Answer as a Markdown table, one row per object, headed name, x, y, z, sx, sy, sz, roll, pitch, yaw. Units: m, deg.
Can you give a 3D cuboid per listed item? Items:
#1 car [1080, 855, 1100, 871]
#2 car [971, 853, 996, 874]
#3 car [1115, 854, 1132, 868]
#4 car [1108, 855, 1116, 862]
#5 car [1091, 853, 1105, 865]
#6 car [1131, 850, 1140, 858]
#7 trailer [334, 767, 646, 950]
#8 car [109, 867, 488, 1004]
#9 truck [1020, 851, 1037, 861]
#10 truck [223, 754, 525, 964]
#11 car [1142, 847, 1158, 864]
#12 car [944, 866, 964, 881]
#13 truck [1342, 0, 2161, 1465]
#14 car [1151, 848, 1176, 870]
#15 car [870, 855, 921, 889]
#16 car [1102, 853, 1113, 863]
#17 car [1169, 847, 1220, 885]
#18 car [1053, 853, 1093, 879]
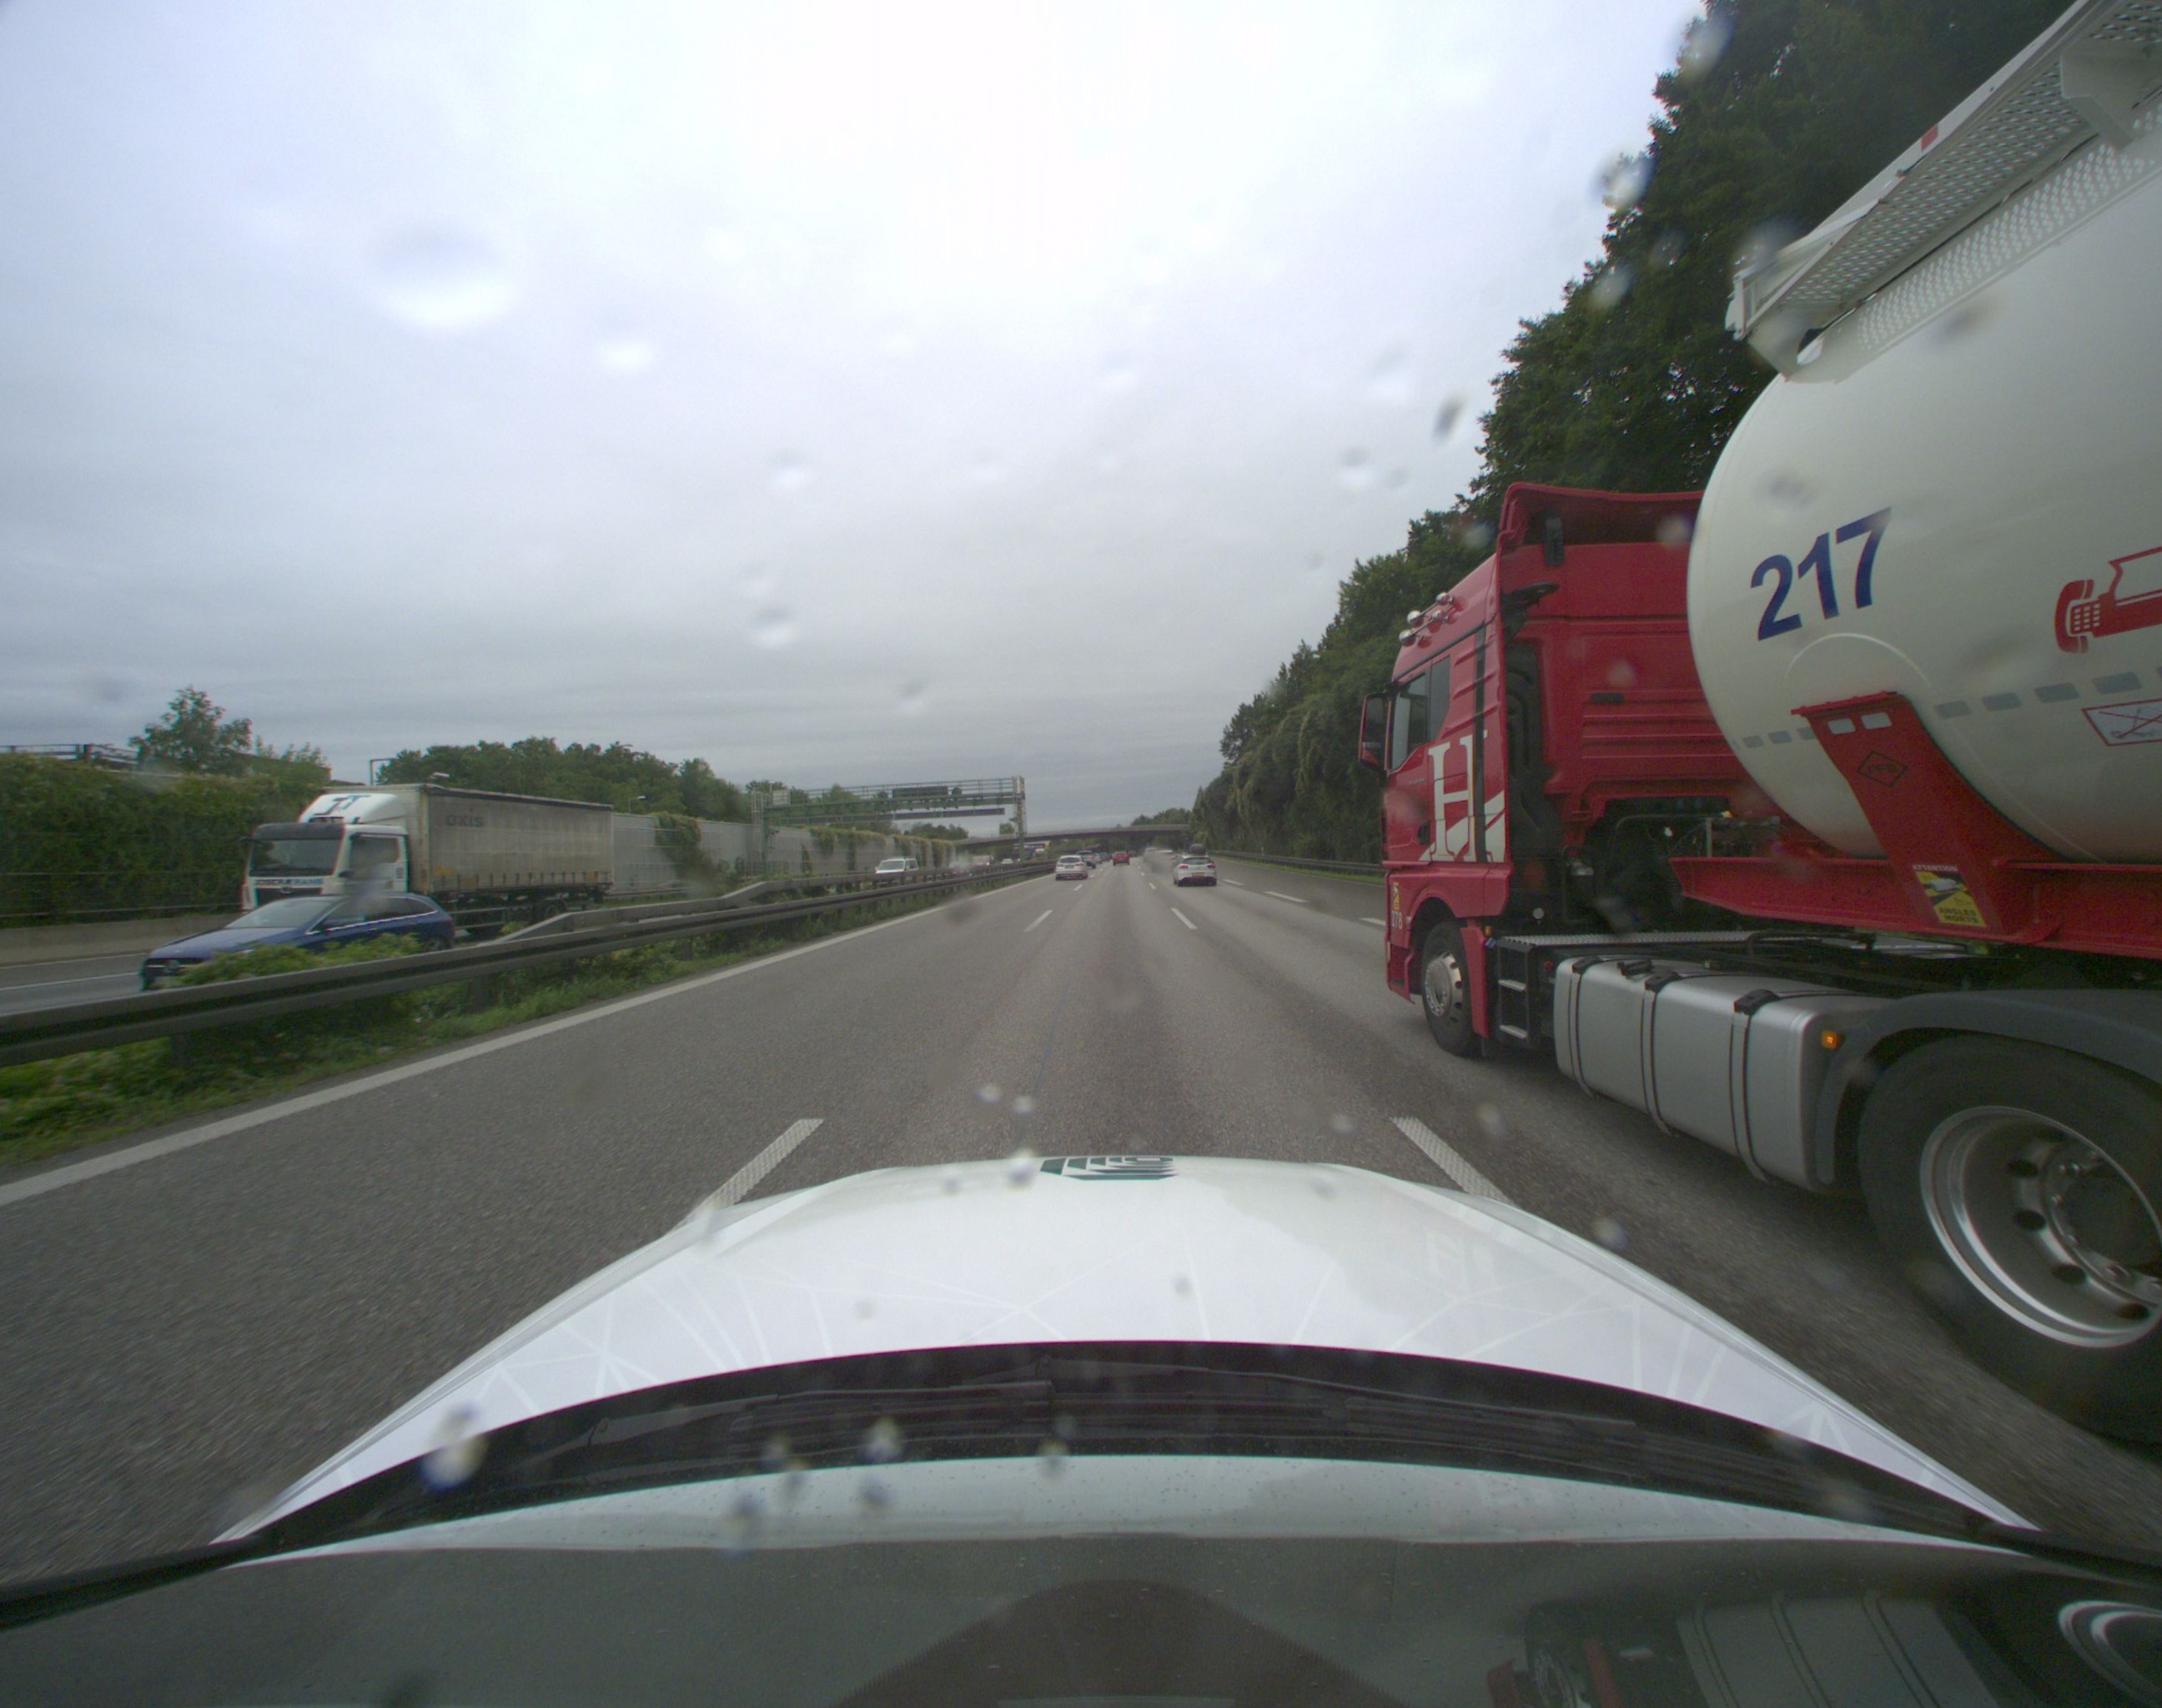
| name | x | y | z | sx | sy | sz | roll | pitch | yaw |
| --- | --- | --- | --- | --- | --- | --- | --- | --- | --- |
| car | 0.878 | 0.869 | 79.903 | 1.681 | 1.506 | 3.875 | 3 | 0 | 4 |
| car | -10.224 | 1.004 | 85.395 | 1.986 | 2.014 | 4.001 | -1 | -1 | 2 |
| car | 4.593 | 0.741 | 88.687 | 1.682 | 1.506 | 3.873 | 3 | 0 | 2 |
| car | 7.504 | 1.057 | 197.665 | 1.682 | 1.639 | 3.872 | -2 | -1 | 2 |
| car | 2.348 | 0.665 | 110.167 | 1.681 | 1.506 | 3.875 | -3 | 0 | 4 |
| car | 10.963 | -0.073 | 164.522 | 1.681 | 1.539 | 3.875 | -1 | 0 | 4 |
| trailer | -16.932 | 0.123 | 24.449 | 2.657 | 4.444 | 8.579 | -2 | 0 | 3 |
| car | -13.600 | 1.278 | 14.744 | 1.986 | 2.014 | 4.911 | -1 | -1 | 2 |
| truck | -10.301 | 0.460 | 159.957 | 2.575 | 1.809 | 5.974 | 3 | 0 | 2 |
| truck | -17.119 | 0.124 | 20.271 | 2.638 | 4.473 | 5.287 | -2 | -1 | 3 |
| car | 7.955 | 0.207 | 94.090 | 1.681 | 1.780 | 3.875 | -1 | -2 | 4 |
| car | -17.083 | 2.592 | 109.619 | 1.986 | 2.014 | 4.001 | -1 | -1 | 2 |
| truck | 3.899 | -0.539 | 4.850 | 2.685 | 3.912 | 6.558 | -1 | -1 | 2 |
| car | 5.968 | 0.401 | 59.065 | 1.681 | 1.506 | 3.875 | -1 | -1 | 4 |
| car | -11.901 | 1.164 | 52.525 | 1.986 | 2.014 | 4.911 | -1 | -1 | 2 |
| car | 4.281 | 0.610 | 131.049 | 1.681 | 1.506 | 3.875 | 3 | 0 | 4 |
| car | 5.157 | 0.564 | 37.549 | 1.809 | 1.625 | 5.031 | 0 | -1 | 2 |
| car | -0.438 | 0.714 | 50.262 | 1.882 | 1.504 | 5.037 | -1 | -1 | 5 |
